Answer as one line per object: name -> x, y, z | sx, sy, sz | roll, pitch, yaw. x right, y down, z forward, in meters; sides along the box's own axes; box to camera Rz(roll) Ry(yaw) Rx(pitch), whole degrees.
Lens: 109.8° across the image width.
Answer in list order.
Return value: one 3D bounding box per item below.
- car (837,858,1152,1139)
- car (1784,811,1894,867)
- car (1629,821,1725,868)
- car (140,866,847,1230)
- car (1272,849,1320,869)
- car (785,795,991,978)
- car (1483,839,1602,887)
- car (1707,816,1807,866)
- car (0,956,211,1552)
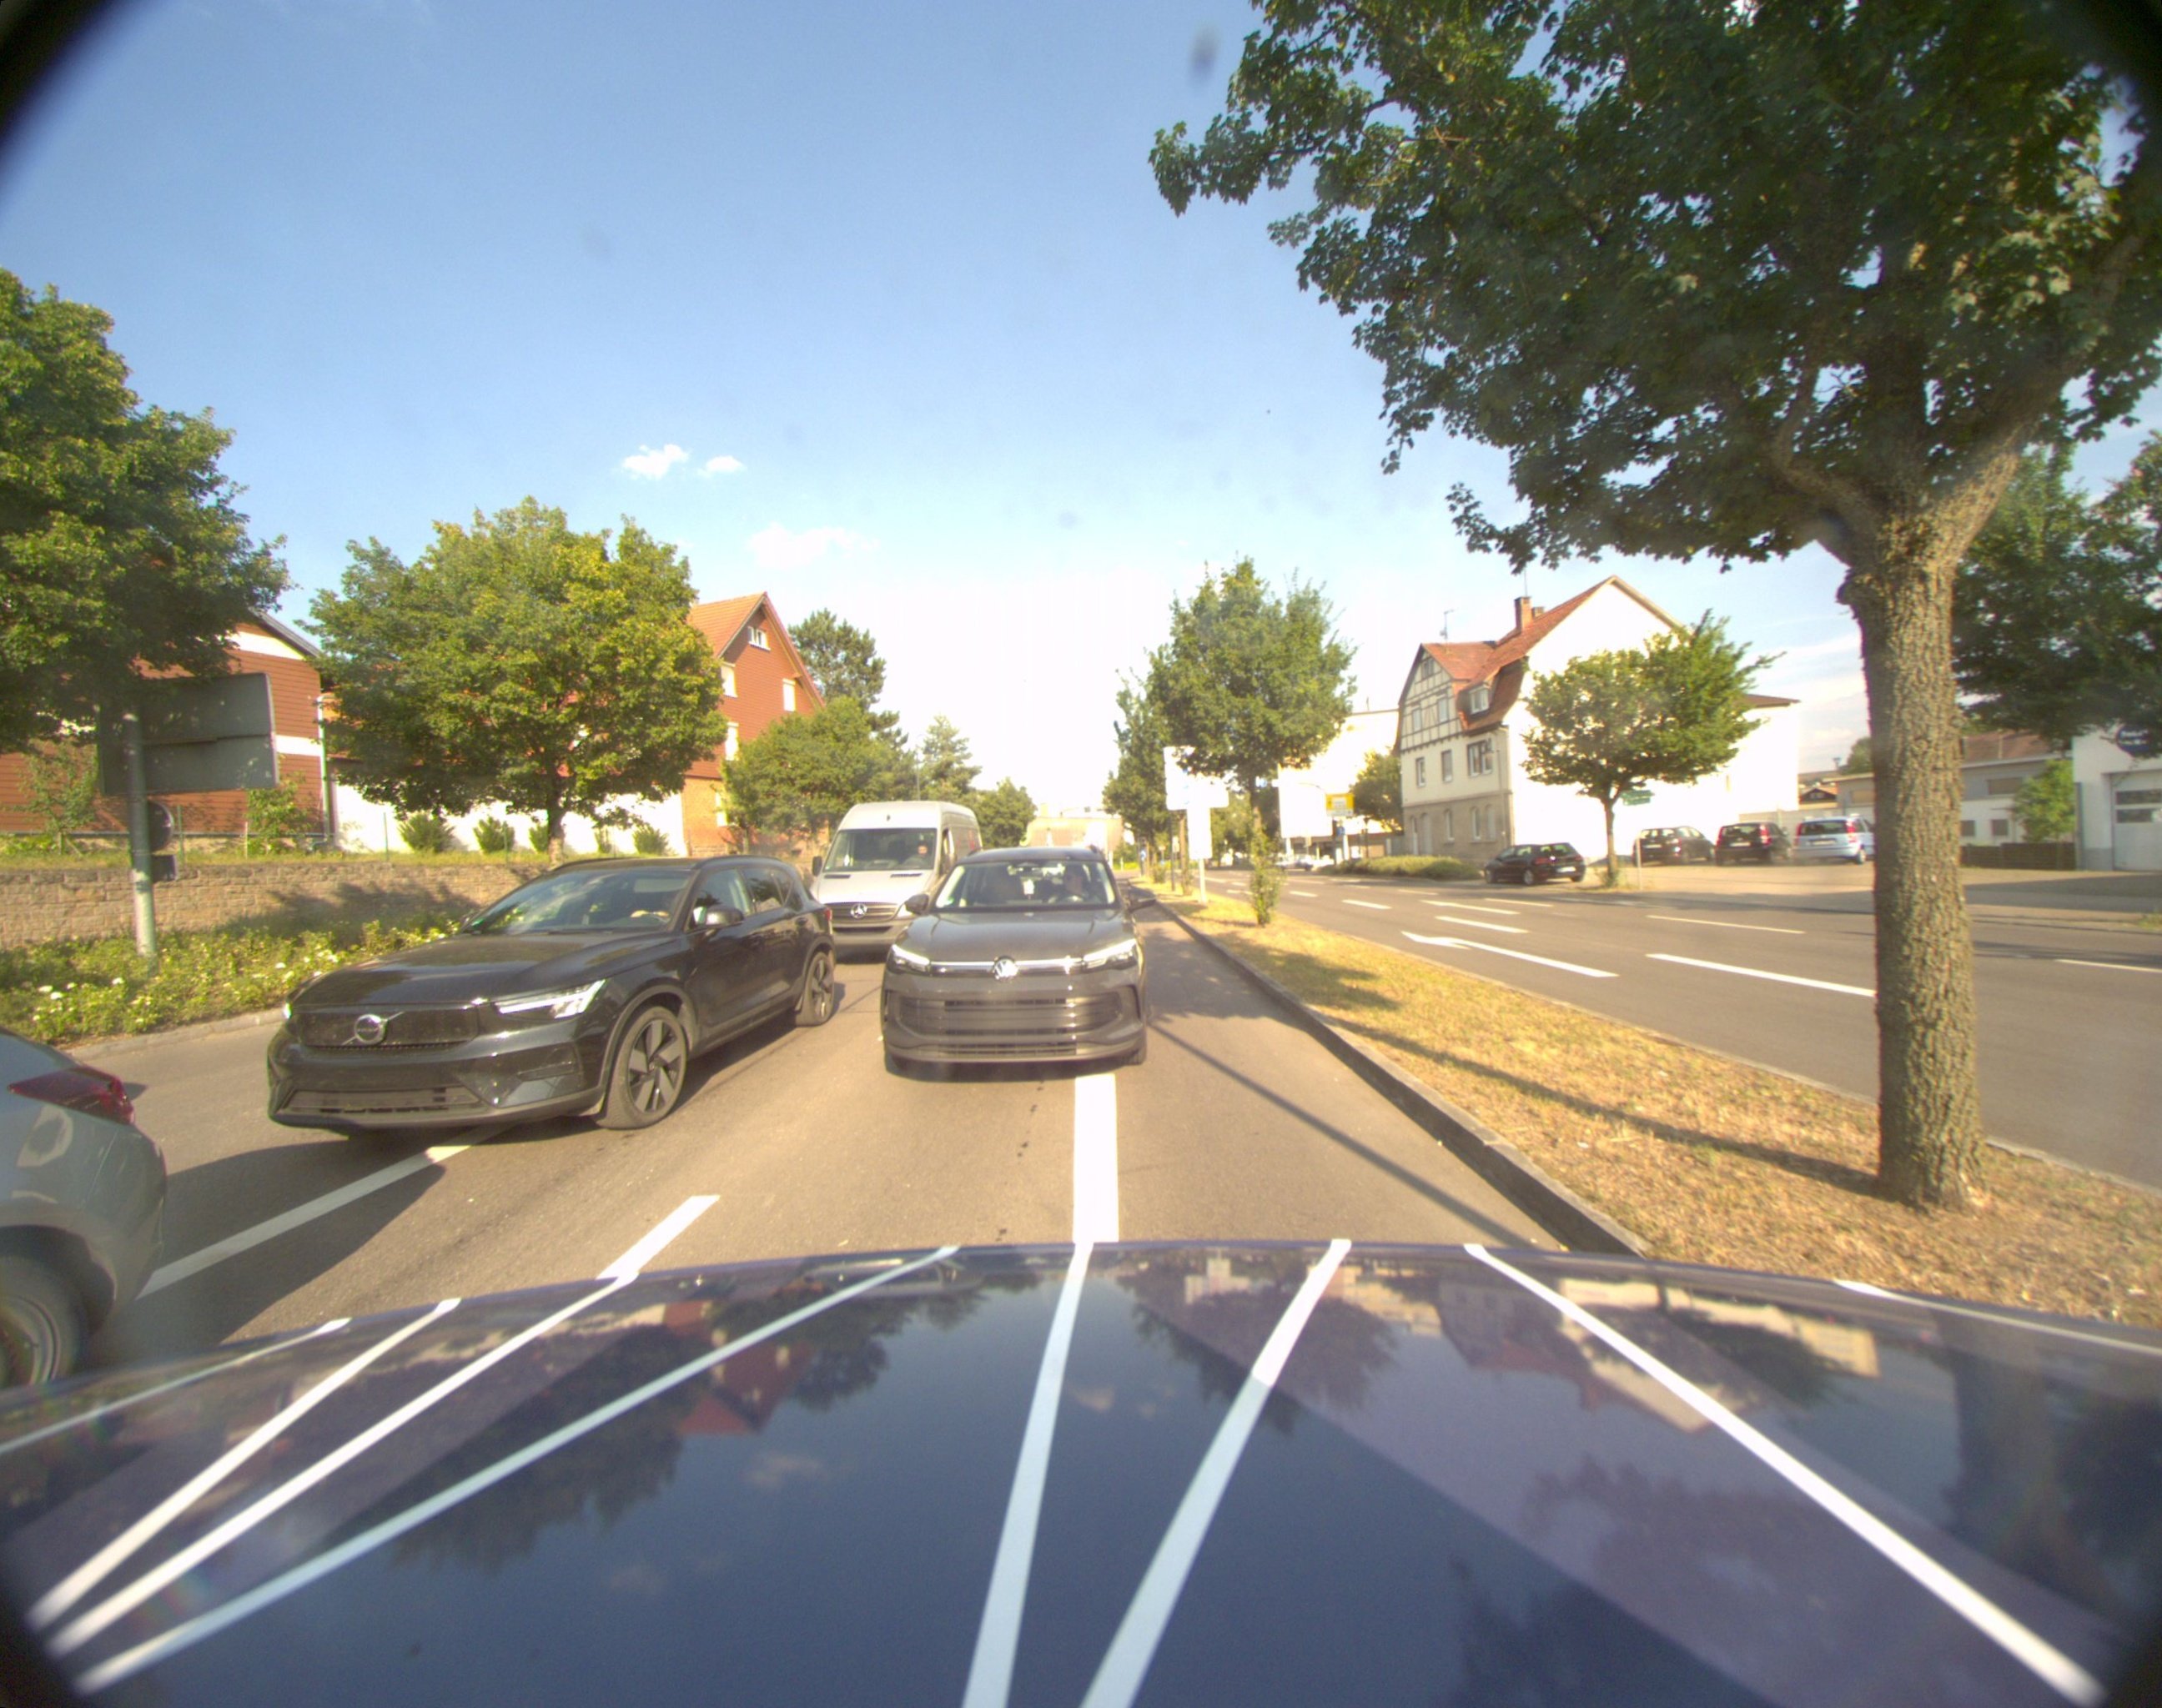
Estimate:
car -> -0.455, 0.873, 6.643 | 1.845, 1.600, 4.318 | -1, 0, 2
car -> 24.877, -0.499, 24.915 | 3.830, 1.493, 1.816 | -5, 0, -35
car -> 23.377, -0.388, 29.777 | 3.830, 1.493, 1.816 | -5, 0, -35
car -> -3.411, 0.950, 5.703 | 1.845, 1.600, 4.318 | -1, 0, 2
car -> 19.509, 0.452, 69.029 | 3.994, 1.622, 1.861 | -2, 0, 10
car -> -3.075, 0.451, 13.704 | 1.992, 2.554, 6.046 | -1, 0, 2
car -> 16.031, 0.283, 26.643 | 1.818, 1.442, 3.825 | -5, 0, 1
car -> 24.655, -0.485, 27.680 | 3.830, 1.493, 1.816 | -5, 0, -35
car -> -3.617, 1.060, 0.207 | 1.766, 1.445, 4.318 | -1, 0, 0
